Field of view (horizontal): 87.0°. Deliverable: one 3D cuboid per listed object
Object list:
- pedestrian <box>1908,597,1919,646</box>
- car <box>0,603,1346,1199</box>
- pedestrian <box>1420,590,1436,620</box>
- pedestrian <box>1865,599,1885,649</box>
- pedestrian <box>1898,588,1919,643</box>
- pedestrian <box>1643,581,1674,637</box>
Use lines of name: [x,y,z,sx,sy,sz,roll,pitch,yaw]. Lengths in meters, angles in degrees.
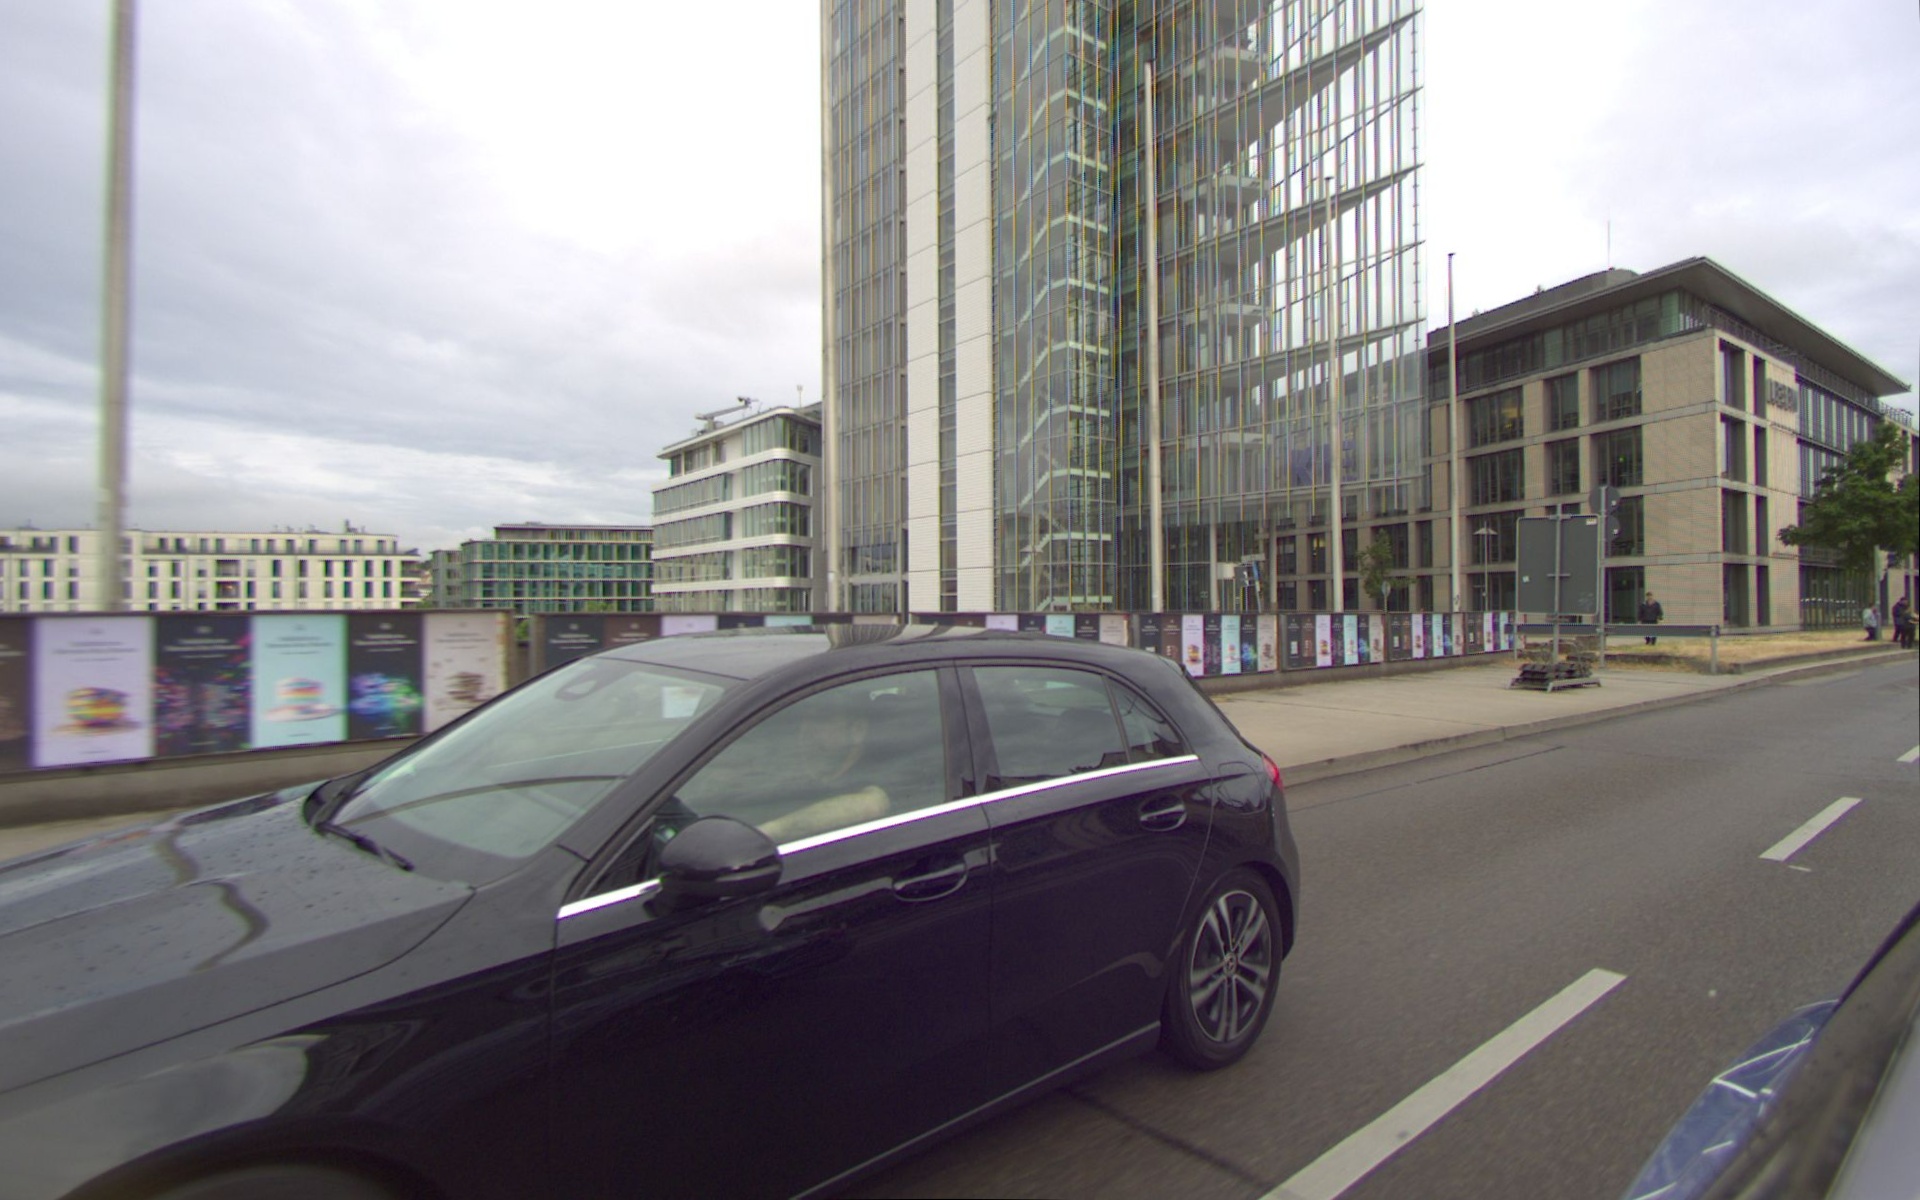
pedestrian: [30.967,0.683,32.646,0.540,1.547,0.591,0,0,43]
car: [-0.700,0.749,2.882,4.085,1.393,1.725,-1,1,-42]
pedestrian: [28.545,0.299,61.765,0.621,1.767,0.637,-1,0,-17]
pedestrian: [29.777,0.774,32.940,0.459,1.619,0.646,0,0,41]
pedestrian: [31.636,0.497,33.565,0.725,1.793,0.771,0,0,42]
pedestrian: [20.473,0.273,29.668,0.654,1.632,0.542,-1,-2,28]
